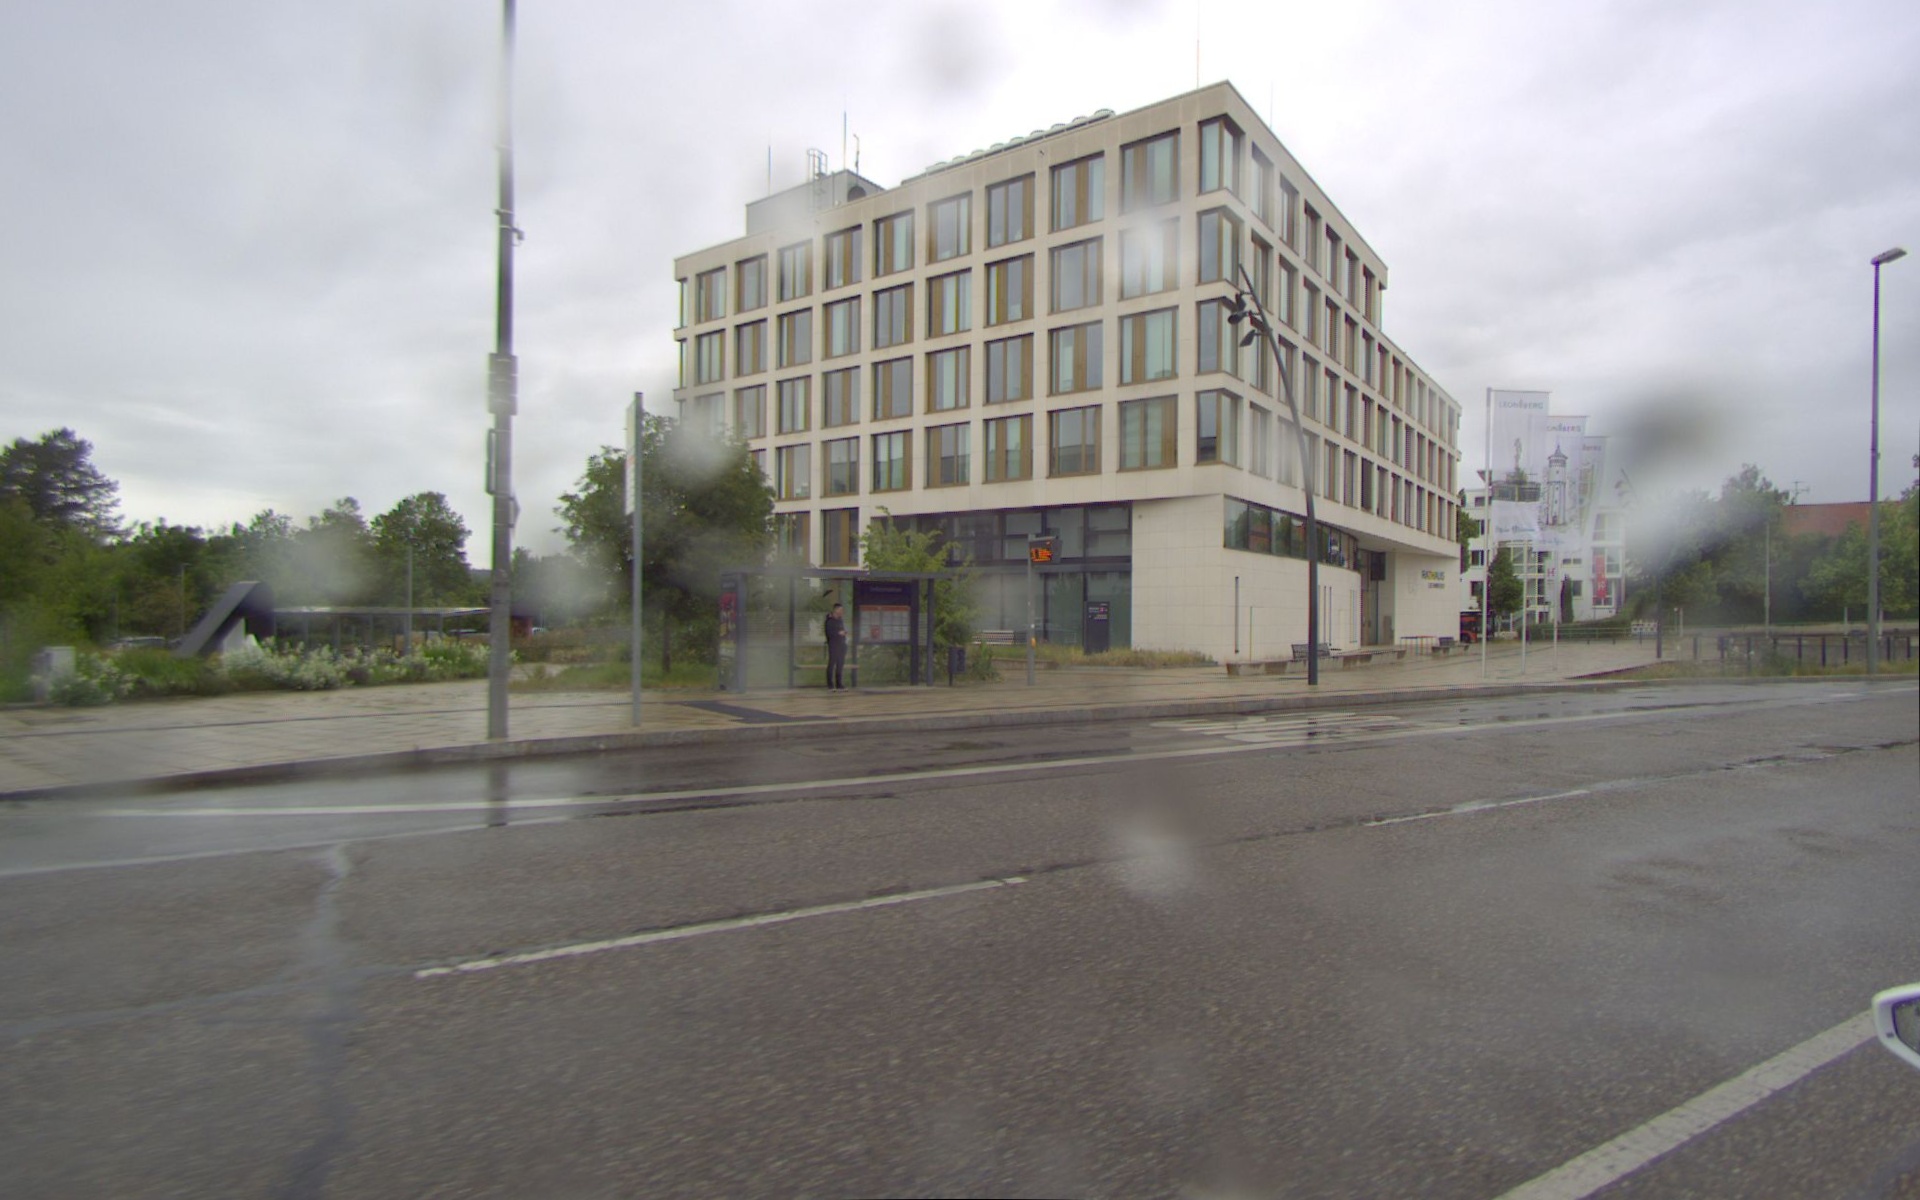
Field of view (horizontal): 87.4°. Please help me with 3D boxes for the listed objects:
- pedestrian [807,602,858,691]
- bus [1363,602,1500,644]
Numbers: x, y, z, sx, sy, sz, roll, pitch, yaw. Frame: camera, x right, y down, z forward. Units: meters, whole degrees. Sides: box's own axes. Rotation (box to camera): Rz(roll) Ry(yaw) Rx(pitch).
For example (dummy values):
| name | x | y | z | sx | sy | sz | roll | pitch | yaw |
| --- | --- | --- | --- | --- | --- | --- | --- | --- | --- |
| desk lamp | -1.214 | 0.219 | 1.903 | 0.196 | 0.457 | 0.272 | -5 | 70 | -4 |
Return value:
| name | x | y | z | sx | sy | sz | roll | pitch | yaw |
| --- | --- | --- | --- | --- | --- | --- | --- | --- | --- |
| pedestrian | -2.611 | 0.945 | 20.554 | 0.774 | 1.768 | 0.670 | 0 | -3 | 45 |
| bus | 39.980 | 1.945 | 85.421 | 10.231 | 3.324 | 2.856 | 0 | -3 | 33 |
